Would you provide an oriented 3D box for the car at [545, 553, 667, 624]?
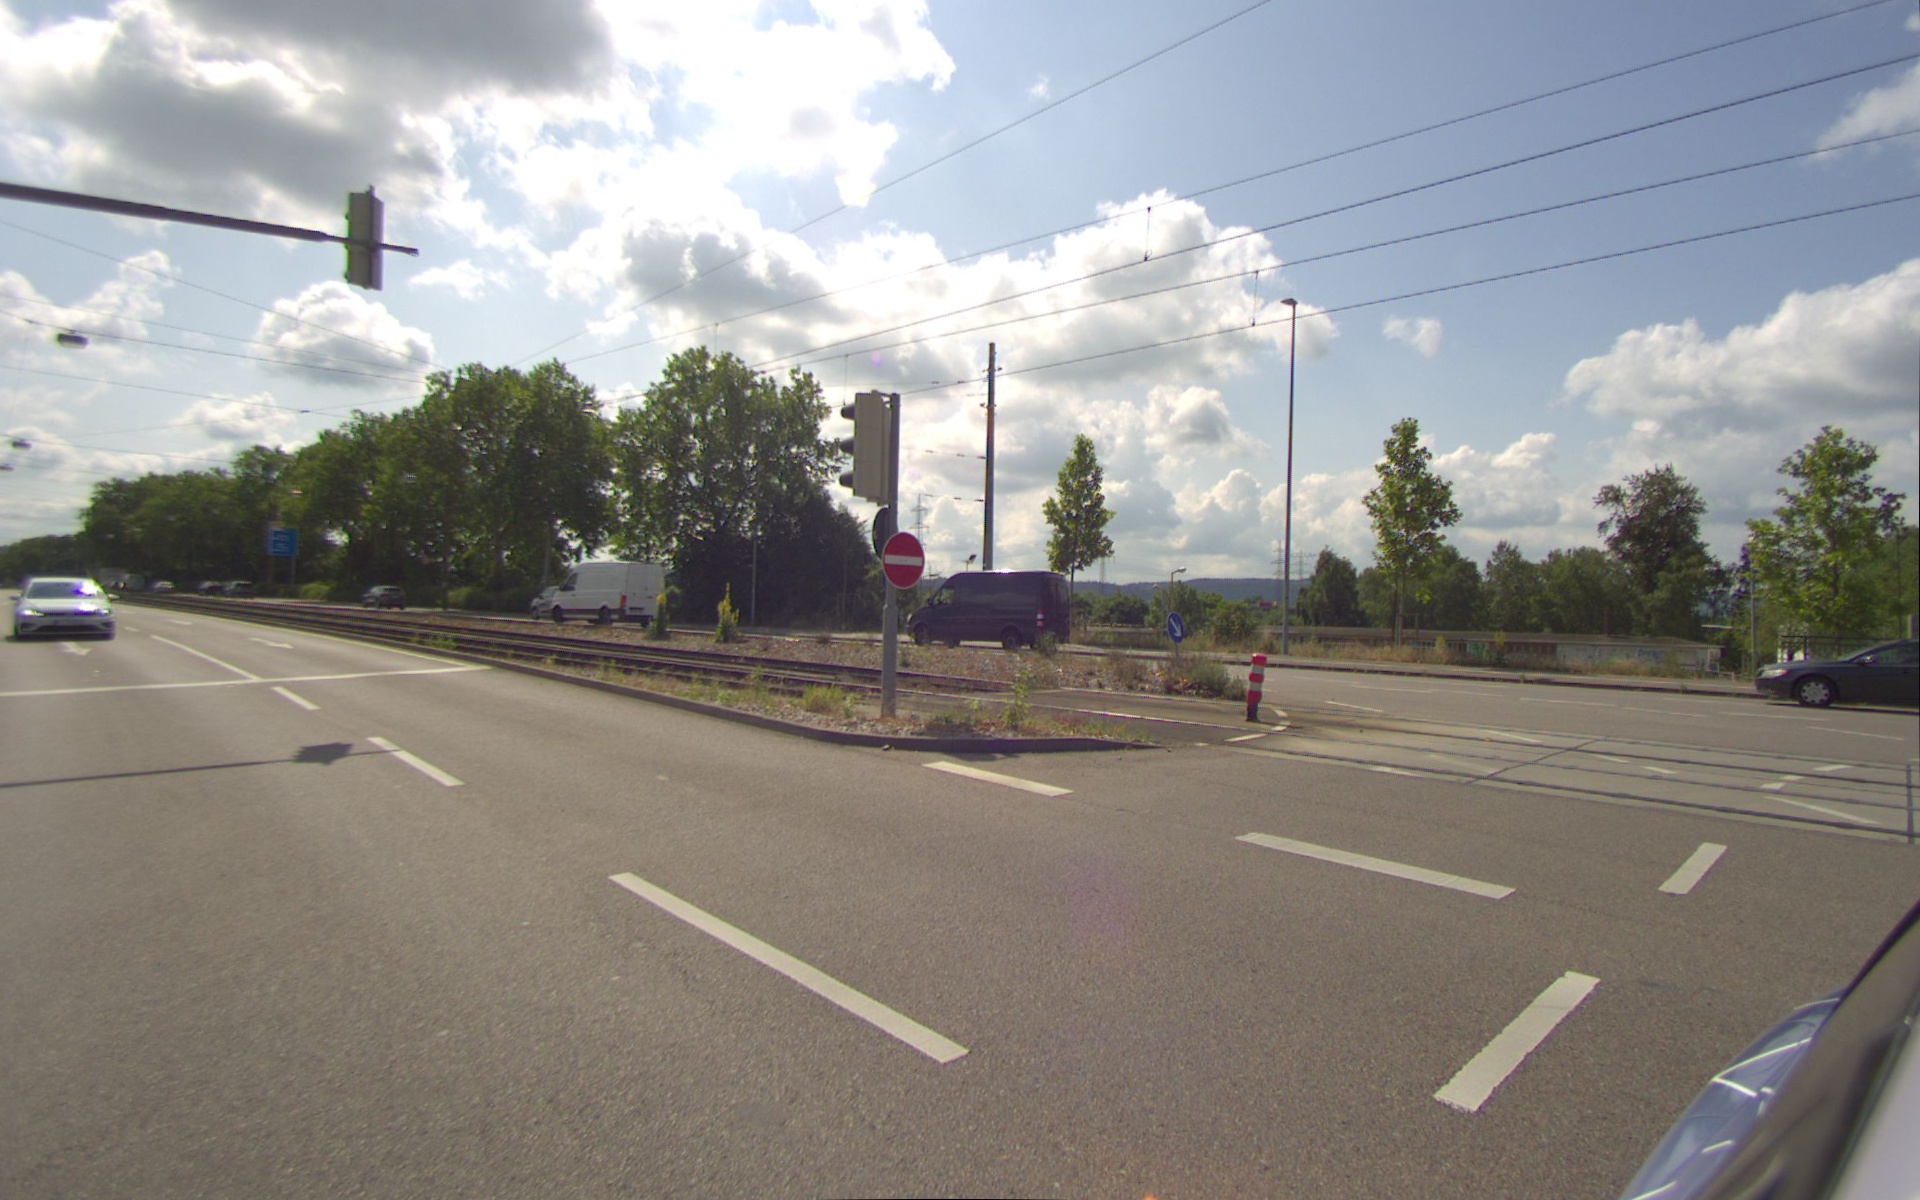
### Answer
[{"bbox_3d":[-14.086,-0.488,40.132,5.566,2.523,1.931,4,0,41],"label":"car"}]

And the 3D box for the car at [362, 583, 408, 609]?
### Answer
[{"bbox_3d":[-39.626,-0.256,69.694,1.836,1.728,3.989,2,-2,-44],"label":"car"}]

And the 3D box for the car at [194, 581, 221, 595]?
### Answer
[{"bbox_3d":[-76.590,-1.196,103.004,3.730,1.383,1.612,-1,-2,44],"label":"car"}]

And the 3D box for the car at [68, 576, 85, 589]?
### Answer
[{"bbox_3d":[-170.742,-3.413,195.536,2.114,2.222,5.469,1,2,-45],"label":"car"}]

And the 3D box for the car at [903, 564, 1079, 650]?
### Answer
[{"bbox_3d":[0.970,0.197,33.738,5.639,2.638,1.967,2,-2,35],"label":"car"}]

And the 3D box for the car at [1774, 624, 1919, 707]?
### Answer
[{"bbox_3d":[19.249,1.326,20.108,4.758,1.528,1.939,1,-2,39],"label":"car"}]

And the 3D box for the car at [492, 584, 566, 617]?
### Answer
[{"bbox_3d":[-22.136,0.067,51.959,3.982,1.639,1.970,-1,-2,41],"label":"car"}]

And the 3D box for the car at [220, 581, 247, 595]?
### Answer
[{"bbox_3d":[-68.230,-1.111,95.069,3.383,1.154,1.404,-1,-2,43],"label":"car"}]

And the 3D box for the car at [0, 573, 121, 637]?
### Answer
[{"bbox_3d":[-22.116,0.091,24.688,4.481,1.431,1.983,1,0,43],"label":"car"}]

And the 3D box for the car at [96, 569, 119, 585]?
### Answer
[{"bbox_3d":[-132.908,-3.552,157.709,5.462,2.388,2.116,1,0,43],"label":"car"}]

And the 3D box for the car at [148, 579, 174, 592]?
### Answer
[{"bbox_3d":[-94.069,-1.670,119.171,3.730,1.383,1.904,-1,-2,44],"label":"car"}]
